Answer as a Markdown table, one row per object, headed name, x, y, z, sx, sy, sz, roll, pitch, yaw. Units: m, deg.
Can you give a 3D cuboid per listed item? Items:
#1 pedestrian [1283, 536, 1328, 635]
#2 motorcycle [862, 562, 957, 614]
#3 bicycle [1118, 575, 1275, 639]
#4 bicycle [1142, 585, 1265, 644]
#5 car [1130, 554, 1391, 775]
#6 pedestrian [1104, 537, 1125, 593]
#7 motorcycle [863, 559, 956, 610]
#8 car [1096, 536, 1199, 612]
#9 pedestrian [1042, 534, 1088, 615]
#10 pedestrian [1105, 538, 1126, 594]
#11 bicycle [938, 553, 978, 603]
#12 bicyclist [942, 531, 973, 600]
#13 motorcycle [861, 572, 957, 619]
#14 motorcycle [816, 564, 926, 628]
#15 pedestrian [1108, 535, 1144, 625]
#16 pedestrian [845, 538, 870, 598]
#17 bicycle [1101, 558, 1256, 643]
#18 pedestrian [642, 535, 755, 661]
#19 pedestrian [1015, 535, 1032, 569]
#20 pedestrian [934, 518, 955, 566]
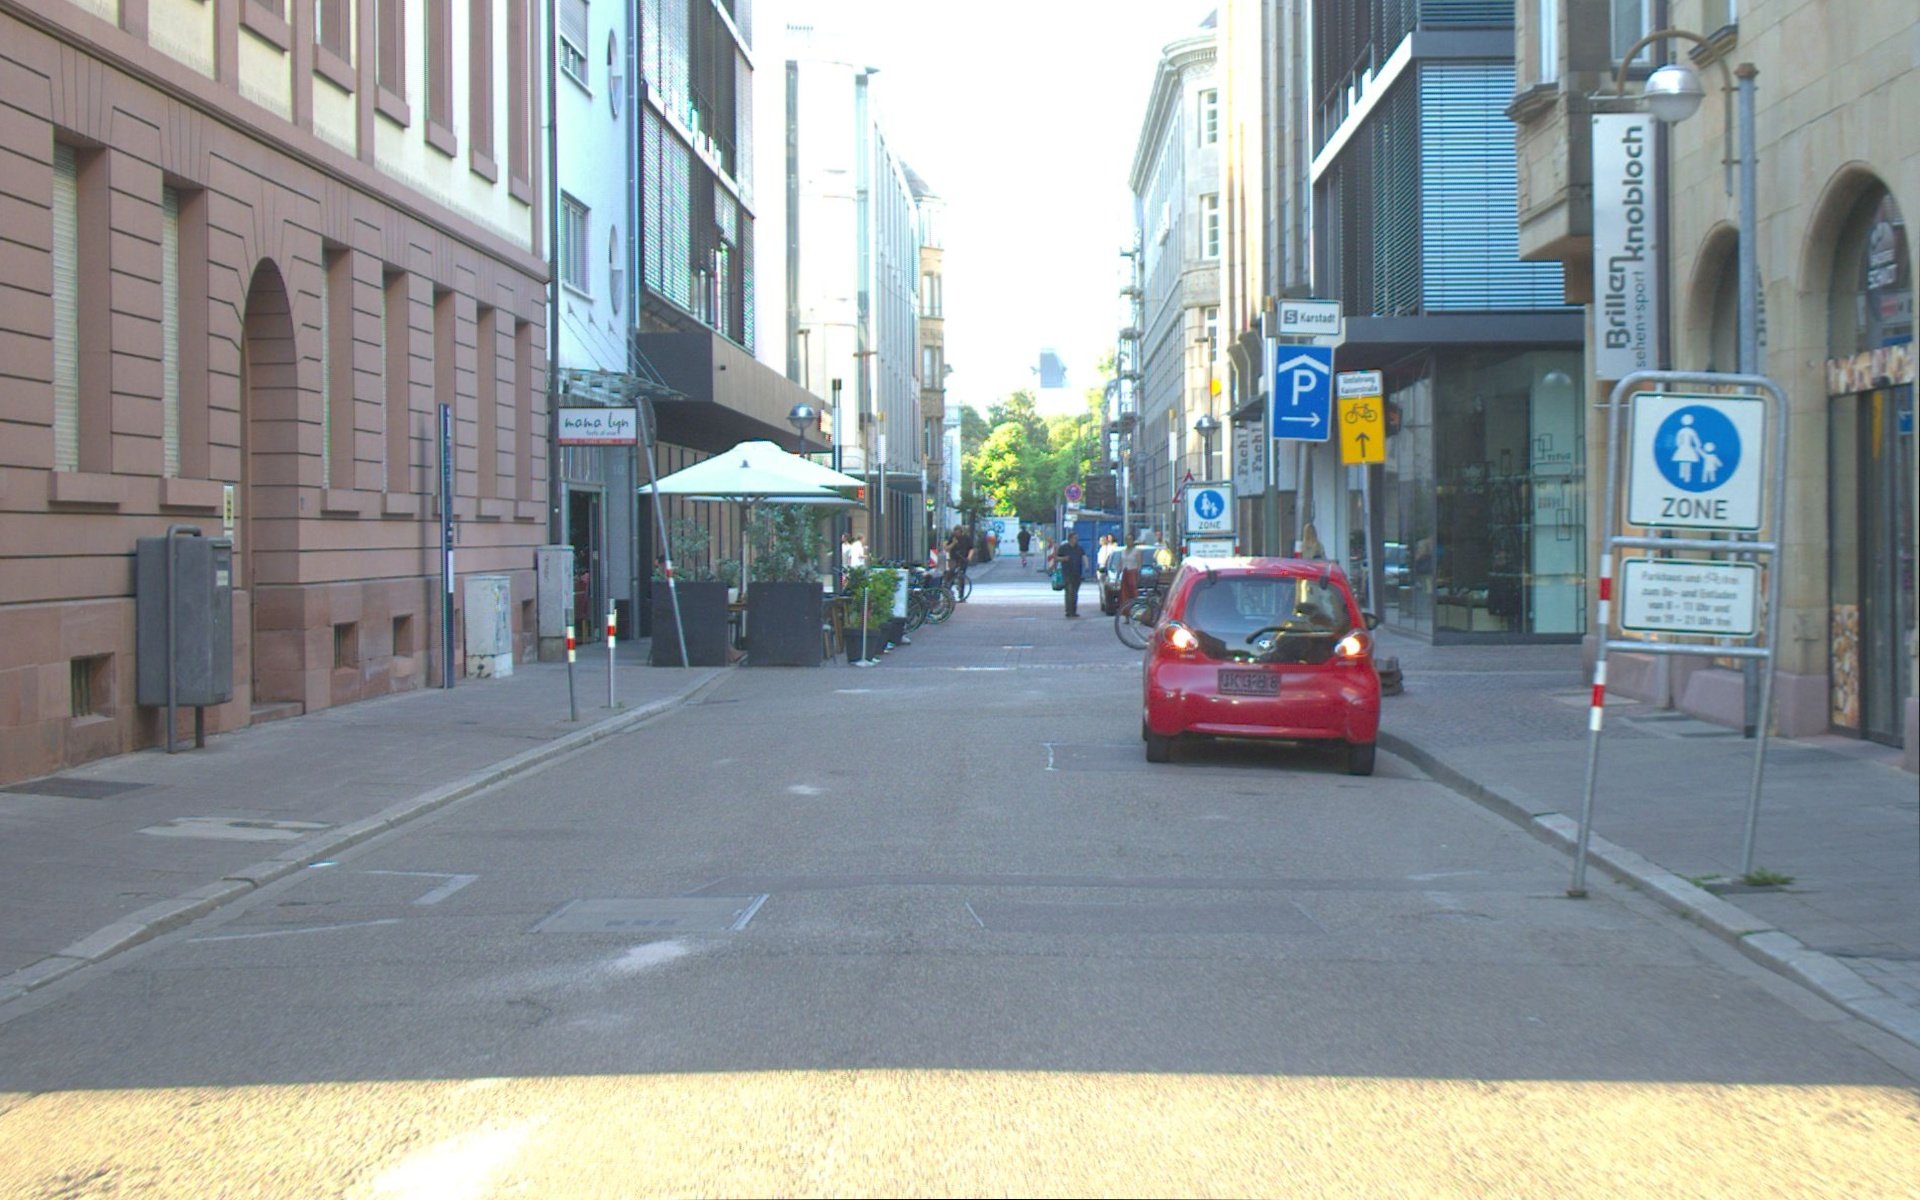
| name | x | y | z | sx | sy | sz | roll | pitch | yaw |
| --- | --- | --- | --- | --- | --- | --- | --- | --- | --- |
| pedestrian | 5.207 | -0.218 | 51.846 | 0.656 | 1.482 | 0.493 | 0 | 1 | 4 |
| motorcycle | -0.967 | -0.234 | 66.076 | 1.801 | 0.986 | 0.560 | 0 | 1 | -2 |
| bicycle | 3.407 | 0.096 | 49.620 | 2.200 | 0.902 | 0.649 | 0 | 1 | -2 |
| bicycle | 3.212 | 0.188 | 45.367 | 1.565 | 0.766 | 0.557 | 0 | 1 | -2 |
| car | 2.126 | 0.413 | 25.097 | 1.649 | 1.422 | 3.535 | 2 | 1 | 2 |
| pedestrian | 4.534 | -1.025 | 100.828 | 0.604 | 1.617 | 0.625 | 0 | 1 | 3 |
| motorcycle | -0.993 | -0.312 | 67.712 | 1.801 | 0.986 | 0.560 | 0 | 1 | -2 |
| car | 4.023 | -0.581 | 74.156 | 1.993 | 1.605 | 4.000 | 0 | 1 | 0 |
| pedestrian | 2.226 | -0.542 | 72.893 | 0.865 | 1.707 | 0.852 | 0 | 1 | -7 |
| pedestrian | 4.526 | -0.997 | 100.241 | 0.604 | 1.617 | 0.529 | 0 | 1 | 3 |
| bicycle | -0.065 | -0.535 | 82.116 | 0.636 | 1.153 | 2.502 | 0 | 1 | -7 |
| bicyclist | -0.071 | -0.833 | 82.147 | 0.636 | 1.635 | 0.772 | 0 | 1 | -7 |
| motorcycle | -0.962 | -0.081 | 65.044 | 1.801 | 0.872 | 0.560 | 0 | 1 | -2 |
| motorcycle | -1.477 | -0.073 | 56.871 | 1.801 | 1.037 | 0.494 | 0 | 1 | -2 |
| pedestrian | 3.005 | -0.367 | 62.218 | 0.633 | 1.614 | 0.466 | 0 | 1 | 3 |
| pedestrian | -2.783 | -0.860 | 93.134 | 0.603 | 1.617 | 0.529 | 0 | 1 | -9 |
| bicycle | 2.969 | 0.002 | 46.880 | 2.052 | 1.130 | 0.649 | 0 | 1 | -2 |
| pedestrian | -3.111 | -0.034 | 40.944 | 1.290 | 1.482 | 0.661 | 0 | 1 | 0 |
| pedestrian | 3.130 | -2.380 | 169.149 | 0.804 | 1.667 | 0.888 | -1 | 1 | 3 |
| pedestrian | -0.527 | -1.958 | 115.831 | 0.678 | 1.617 | 0.625 | 0 | 1 | 3 |
